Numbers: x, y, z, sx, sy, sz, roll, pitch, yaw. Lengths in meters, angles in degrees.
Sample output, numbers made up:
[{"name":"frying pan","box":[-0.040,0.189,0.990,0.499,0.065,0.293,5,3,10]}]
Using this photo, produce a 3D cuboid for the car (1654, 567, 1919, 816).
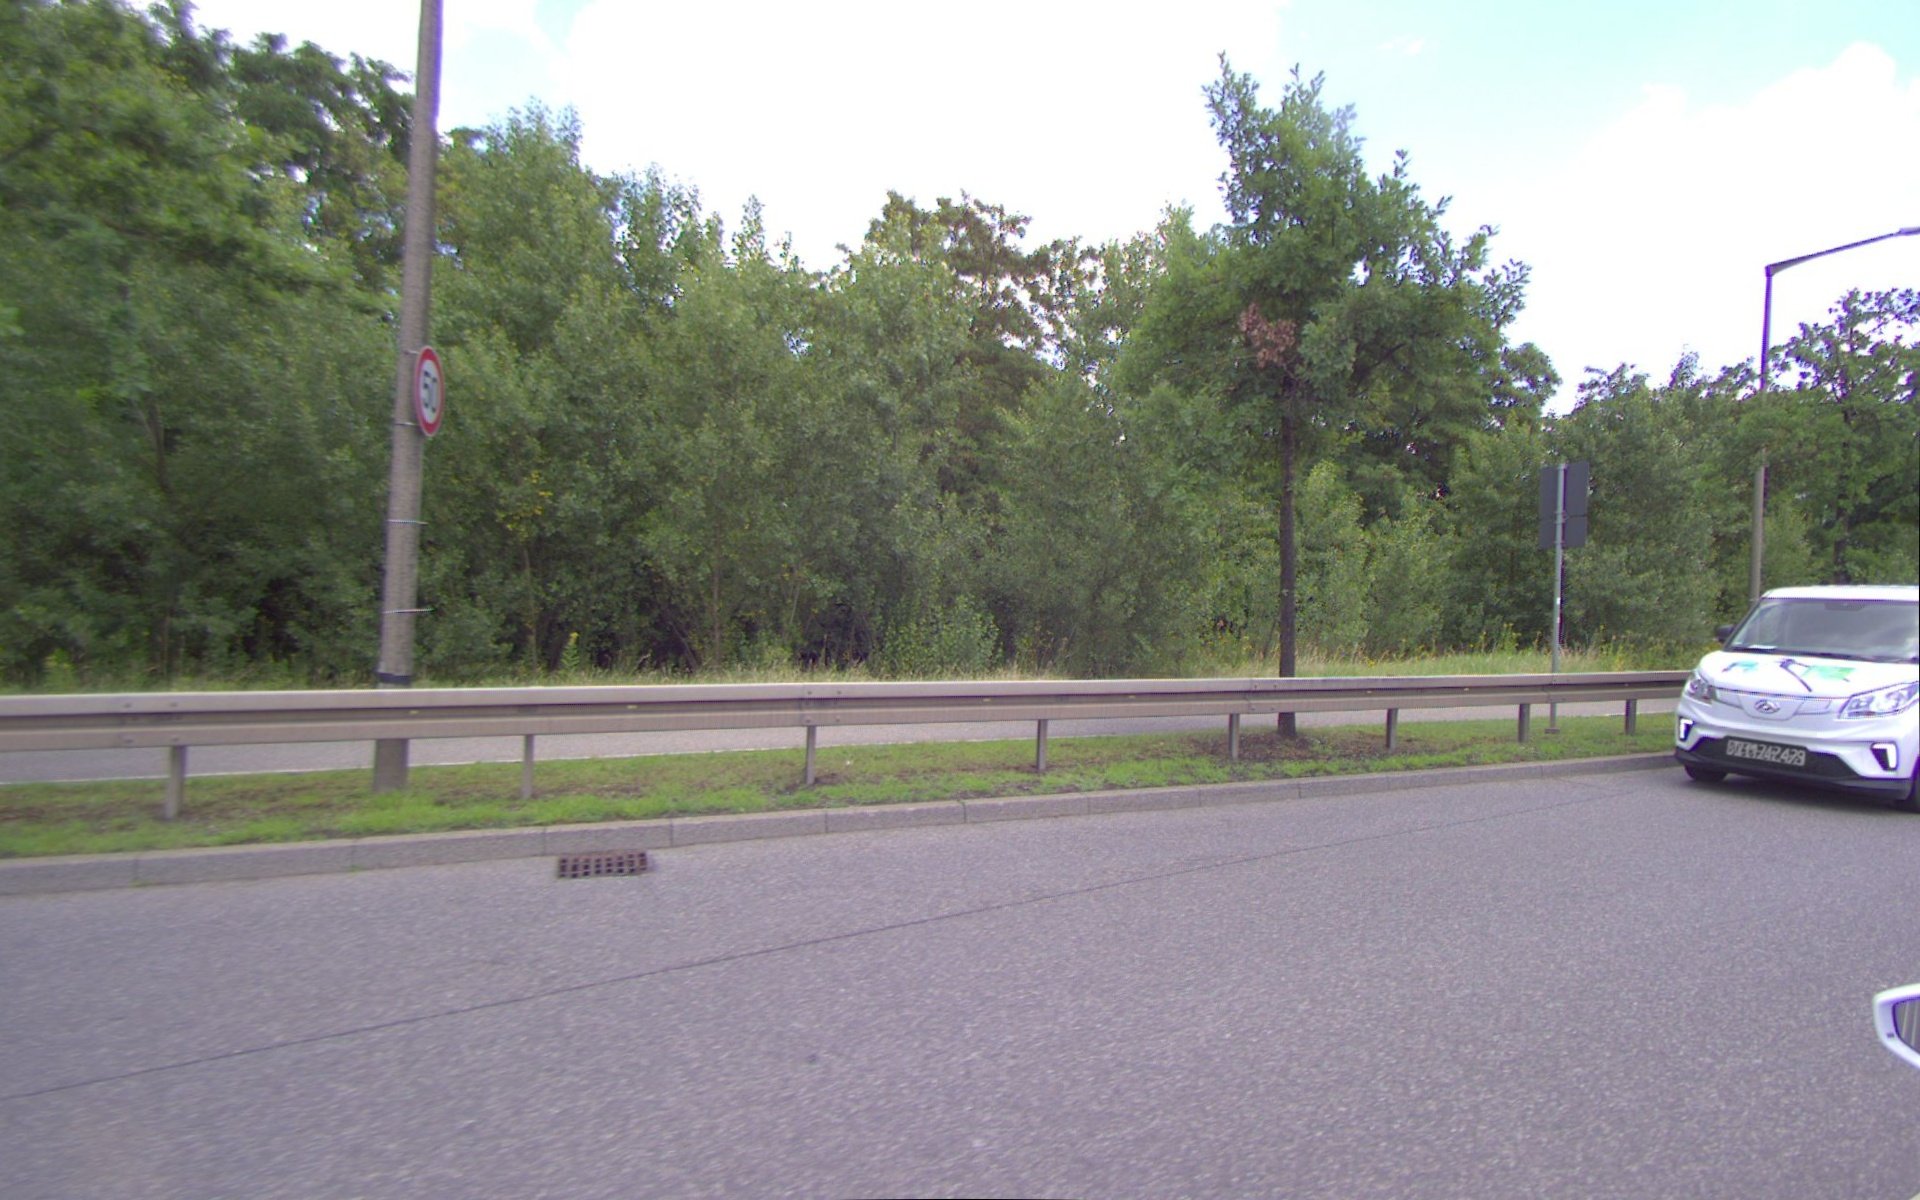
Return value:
[{"name":"car","box":[9.068,0.755,9.675,5.201,1.892,1.768,1,0,-29]}]
